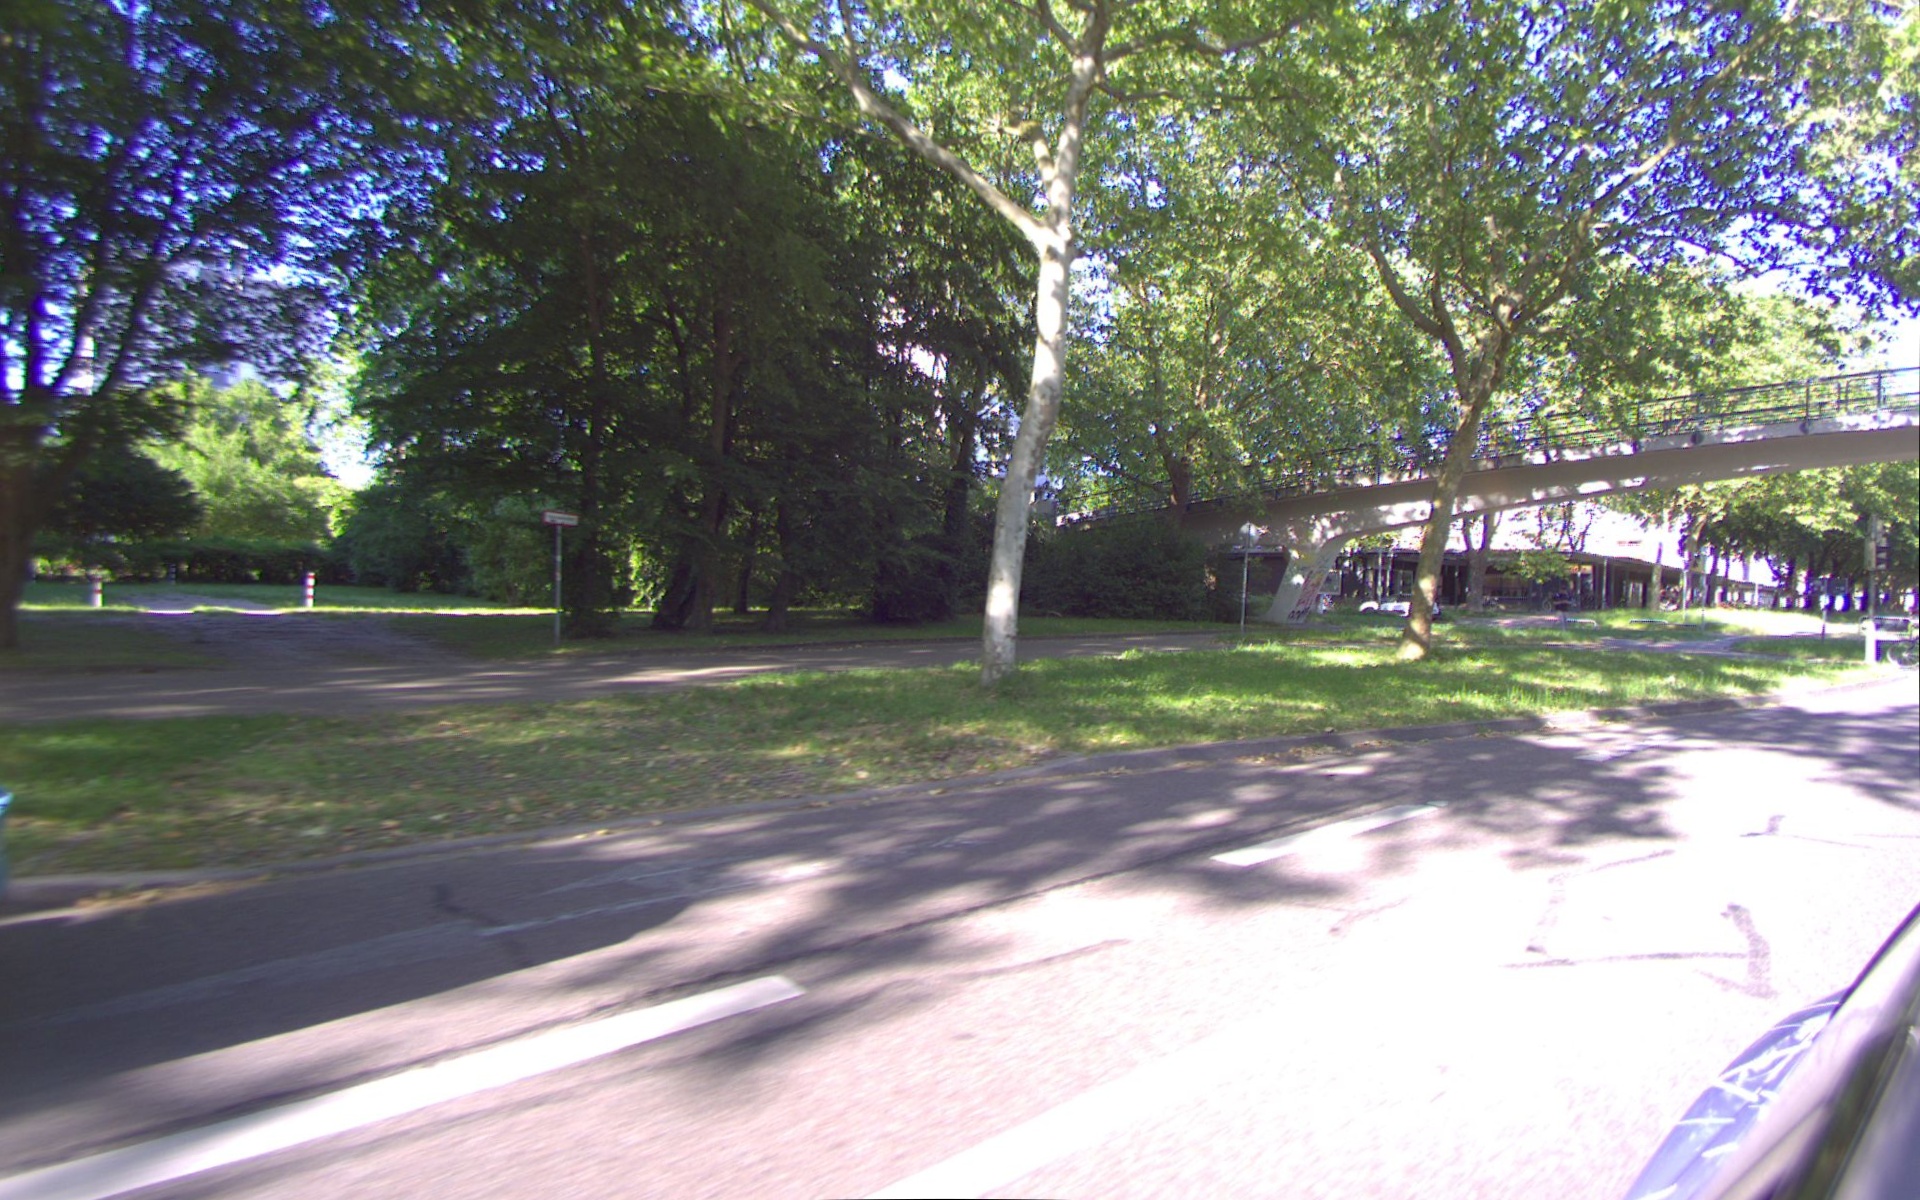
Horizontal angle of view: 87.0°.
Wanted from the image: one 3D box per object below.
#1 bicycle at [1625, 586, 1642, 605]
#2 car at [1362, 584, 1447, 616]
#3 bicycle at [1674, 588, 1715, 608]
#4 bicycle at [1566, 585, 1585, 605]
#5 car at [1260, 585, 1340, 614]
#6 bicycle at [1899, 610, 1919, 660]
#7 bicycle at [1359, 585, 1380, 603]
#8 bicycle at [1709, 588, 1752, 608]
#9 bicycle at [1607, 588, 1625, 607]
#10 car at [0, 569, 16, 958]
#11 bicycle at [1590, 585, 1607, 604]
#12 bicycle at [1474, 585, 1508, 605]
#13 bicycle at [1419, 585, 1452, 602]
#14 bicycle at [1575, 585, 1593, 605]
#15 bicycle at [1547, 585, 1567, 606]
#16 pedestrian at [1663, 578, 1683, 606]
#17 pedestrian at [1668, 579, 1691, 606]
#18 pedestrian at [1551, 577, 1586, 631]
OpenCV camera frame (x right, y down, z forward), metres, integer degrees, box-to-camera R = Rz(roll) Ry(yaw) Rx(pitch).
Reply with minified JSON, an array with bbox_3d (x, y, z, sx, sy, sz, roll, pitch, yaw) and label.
[{"bbox_3d":[46.389,-0.326,69.705,1.775,1.269,0.576,0,0,-43],"label":"bicycle"},{"bbox_3d":[23.252,-0.019,52.994,1.680,1.515,3.732,3,-1,-43],"label":"car"},{"bbox_3d":[47.556,-0.120,65.543,0.550,1.172,2.077,1,2,-27],"label":"bicycle"},{"bbox_3d":[39.384,-0.296,64.767,1.775,1.269,0.576,0,0,-43],"label":"bicycle"},{"bbox_3d":[19.202,-0.047,57.273,3.965,1.515,1.645,2,-1,39],"label":"car"},{"bbox_3d":[23.394,0.861,23.798,0.800,1.161,1.835,1,1,-41],"label":"bicycle"},{"bbox_3d":[25.594,-0.379,63.176,0.504,0.971,2.164,3,5,42],"label":"bicycle"},{"bbox_3d":[48.048,-0.133,63.135,2.063,1.172,0.554,4,2,39],"label":"bicycle"},{"bbox_3d":[42.971,-0.177,66.280,1.775,1.269,0.576,0,0,-43],"label":"bicycle"},{"bbox_3d":[-5.007,0.648,2.286,4.024,1.502,1.781,0,1,-37],"label":"car"},{"bbox_3d":[43.850,-0.399,69.501,1.775,1.269,0.576,0,0,-43],"label":"bicycle"},{"bbox_3d":[33.201,-0.326,63.283,1.799,1.129,0.700,3,3,42],"label":"bicycle"},{"bbox_3d":[30.817,-0.419,65.600,1.800,0.966,0.700,5,4,42],"label":"bicycle"},{"bbox_3d":[40.829,-0.311,66.215,1.775,1.269,0.576,0,0,-43],"label":"bicycle"},{"bbox_3d":[36.576,-0.268,61.950,1.775,1.269,0.576,0,0,-43],"label":"bicycle"},{"bbox_3d":[48.260,-0.526,68.511,0.963,1.863,0.939,2,1,40],"label":"pedestrian"},{"bbox_3d":[46.745,-0.484,65.711,1.126,1.729,0.722,2,1,40],"label":"pedestrian"},{"bbox_3d":[20.603,0.137,34.259,0.725,1.800,0.660,2,0,-3],"label":"pedestrian"}]
